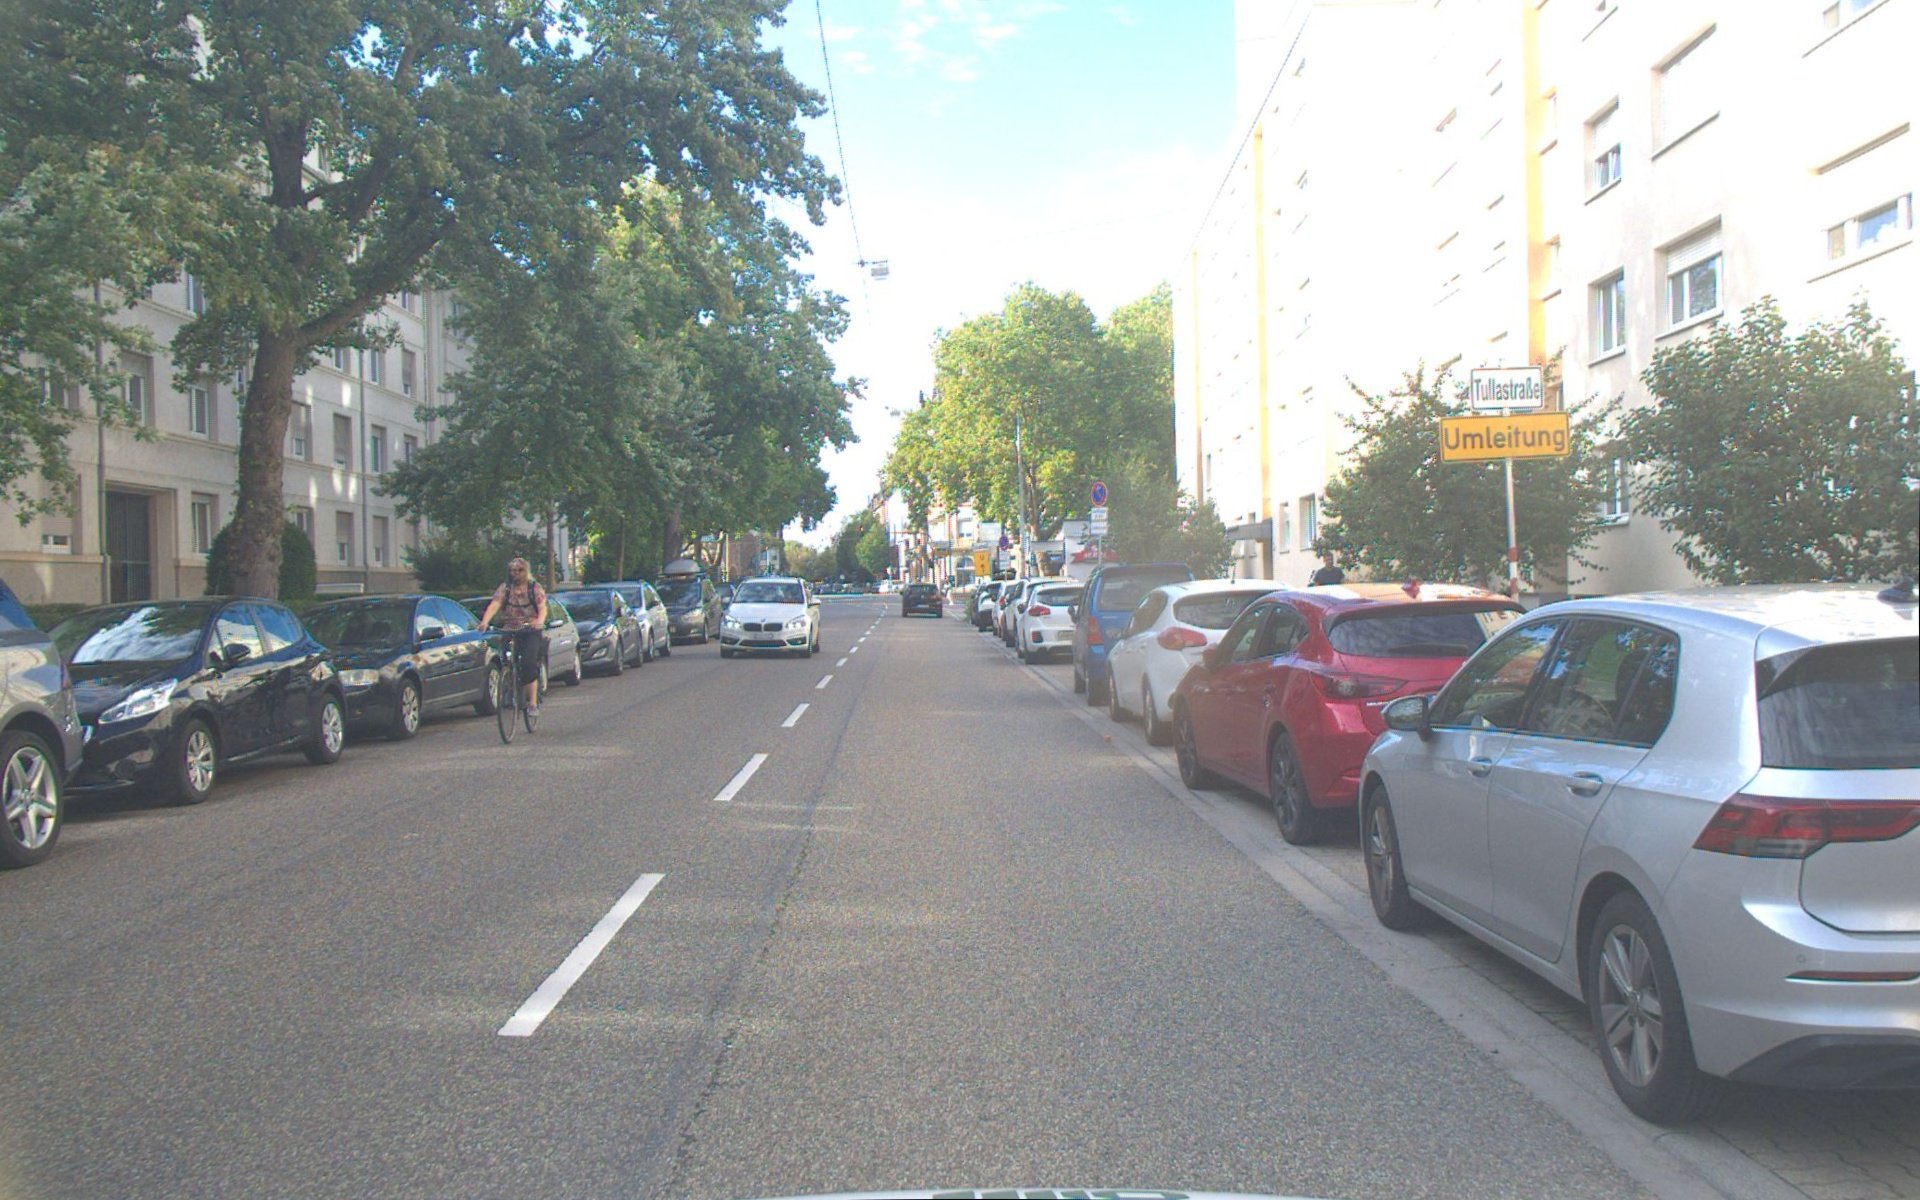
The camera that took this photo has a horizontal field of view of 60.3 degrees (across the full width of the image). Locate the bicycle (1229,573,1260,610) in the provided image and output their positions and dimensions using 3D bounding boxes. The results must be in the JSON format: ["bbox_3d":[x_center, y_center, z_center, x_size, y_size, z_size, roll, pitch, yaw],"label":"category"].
[{"bbox_3d":[9.095,-0.276,52.847,0.518,1.134,2.209,-3,1,-1],"label":"bicycle"}]

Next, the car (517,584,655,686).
[{"bbox_3d":[-6.319,0.531,28.314,1.583,1.493,4.011,-4,1,-4],"label":"car"}]

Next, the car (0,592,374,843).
[{"bbox_3d":[-6.136,0.781,12.711,1.651,1.506,4.119,-5,1,0],"label":"car"}]

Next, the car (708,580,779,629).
[{"bbox_3d":[-7.350,0.121,56.439,1.659,1.519,4.333,-3,1,2],"label":"car"}]

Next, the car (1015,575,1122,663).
[{"bbox_3d":[2.035,0.315,32.141,1.693,1.513,4.641,-3,1,0],"label":"car"}]

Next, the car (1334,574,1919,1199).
[{"bbox_3d":[2.705,0.673,5.933,1.628,1.440,4.057,-3,0,-2],"label":"car"}]

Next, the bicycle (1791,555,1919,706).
[{"bbox_3d":[8.756,0.256,15.396,0.583,1.313,2.634,-4,1,-1],"label":"bicycle"}]

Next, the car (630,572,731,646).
[{"bbox_3d":[-7.127,0.182,42.547,1.763,1.697,4.482,-4,1,-1],"label":"car"}]

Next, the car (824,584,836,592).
[{"bbox_3d":[-20.448,-1.893,260.107,1.742,1.251,3.586,-1,1,-3],"label":"car"}]

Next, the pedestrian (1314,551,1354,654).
[{"bbox_3d":[6.488,0.044,28.736,0.530,1.751,0.772,-1,0,4],"label":"pedestrian"}]

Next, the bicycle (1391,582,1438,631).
[{"bbox_3d":[9.211,0.120,33.580,0.449,0.943,1.516,-3,1,-2],"label":"bicycle"}]

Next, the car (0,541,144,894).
[{"bbox_3d":[-5.880,0.676,7.636,1.840,1.824,4.968,-4,1,-3],"label":"car"}]

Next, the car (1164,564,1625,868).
[{"bbox_3d":[2.597,0.600,10.960,1.694,1.541,4.188,-3,1,-3],"label":"car"}]

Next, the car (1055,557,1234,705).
[{"bbox_3d":[2.329,0.351,21.837,1.694,1.678,4.115,-3,1,-2],"label":"car"}]

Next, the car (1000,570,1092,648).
[{"bbox_3d":[1.918,0.169,37.948,1.694,1.608,4.115,-3,1,-2],"label":"car"}]

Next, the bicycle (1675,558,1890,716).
[{"bbox_3d":[7.540,0.304,15.341,0.592,1.313,2.634,-2,0,-1],"label":"bicycle"}]

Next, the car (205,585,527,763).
[{"bbox_3d":[-6.157,0.671,17.748,1.651,1.506,4.452,-5,1,1],"label":"car"}]

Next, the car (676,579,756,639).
[{"bbox_3d":[-6.955,0.219,47.526,1.666,1.512,3.847,-4,1,-1],"label":"car"}]

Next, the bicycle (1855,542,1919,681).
[{"bbox_3d":[9.460,0.098,15.421,0.712,1.313,2.634,-2,1,-1],"label":"bicycle"}]

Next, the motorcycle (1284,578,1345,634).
[{"bbox_3d":[7.289,0.105,34.108,0.618,1.063,2.393,-3,1,-2],"label":"motorcycle"}]

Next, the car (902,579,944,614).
[{"bbox_3d":[-1.601,-0.161,70.827,1.716,1.438,3.999,-1,1,-2],"label":"car"}]

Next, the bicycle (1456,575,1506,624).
[{"bbox_3d":[10.616,-0.022,33.754,0.449,0.943,1.516,-3,1,-2],"label":"bicycle"}]

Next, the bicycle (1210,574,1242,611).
[{"bbox_3d":[8.487,-0.252,52.835,0.585,1.134,2.209,-3,1,-1],"label":"bicycle"}]

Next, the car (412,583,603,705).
[{"bbox_3d":[-6.281,0.551,23.392,1.568,1.443,3.963,-5,1,-1],"label":"car"}]

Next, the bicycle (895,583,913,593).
[{"bbox_3d":[-6.458,-1.392,190.632,1.989,1.100,0.618,-2,1,-15],"label":"bicycle"}]

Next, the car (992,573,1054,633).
[{"bbox_3d":[1.740,0.065,46.514,1.519,1.584,3.467,-1,1,-1],"label":"car"}]

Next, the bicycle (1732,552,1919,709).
[{"bbox_3d":[8.157,0.241,15.398,0.592,1.313,2.634,-3,1,-1],"label":"bicycle"}]

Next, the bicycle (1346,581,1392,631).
[{"bbox_3d":[8.275,0.108,33.515,0.449,0.958,1.516,-3,1,-2],"label":"bicycle"}]

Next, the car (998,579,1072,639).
[{"bbox_3d":[1.903,0.207,42.670,1.485,1.422,3.674,-3,1,-3],"label":"car"}]

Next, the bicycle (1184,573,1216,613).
[{"bbox_3d":[7.679,-0.234,52.992,0.585,1.207,2.209,-5,1,-1],"label":"bicycle"}]

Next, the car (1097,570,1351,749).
[{"bbox_3d":[2.505,0.504,16.636,1.694,1.486,4.115,-3,1,-2],"label":"car"}]

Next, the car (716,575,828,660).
[{"bbox_3d":[-3.739,0.308,33.460,1.821,1.555,4.010,-1,1,-1],"label":"car"}]

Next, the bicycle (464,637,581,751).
[{"bbox_3d":[-4.161,0.866,15.854,0.629,0.939,1.857,-2,0,-1],"label":"bicycle"}]

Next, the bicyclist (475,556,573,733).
[{"bbox_3d":[-4.186,0.409,15.941,0.628,1.628,0.990,-2,0,-1],"label":"bicyclist"}]

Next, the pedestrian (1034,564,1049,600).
[{"bbox_3d":[3.847,-0.843,77.804,0.639,1.674,0.743,-1,0,-2],"label":"pedestrian"}]

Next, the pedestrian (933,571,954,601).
[{"bbox_3d":[-1.016,-0.861,101.638,1.057,1.784,0.914,-1,1,-18],"label":"pedestrian"}]

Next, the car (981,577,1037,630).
[{"bbox_3d":[1.508,0.066,52.227,1.655,1.555,4.238,-2,1,1],"label":"car"}]

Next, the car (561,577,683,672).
[{"bbox_3d":[-6.767,0.447,33.472,1.705,1.648,3.992,-5,1,-3],"label":"car"}]
